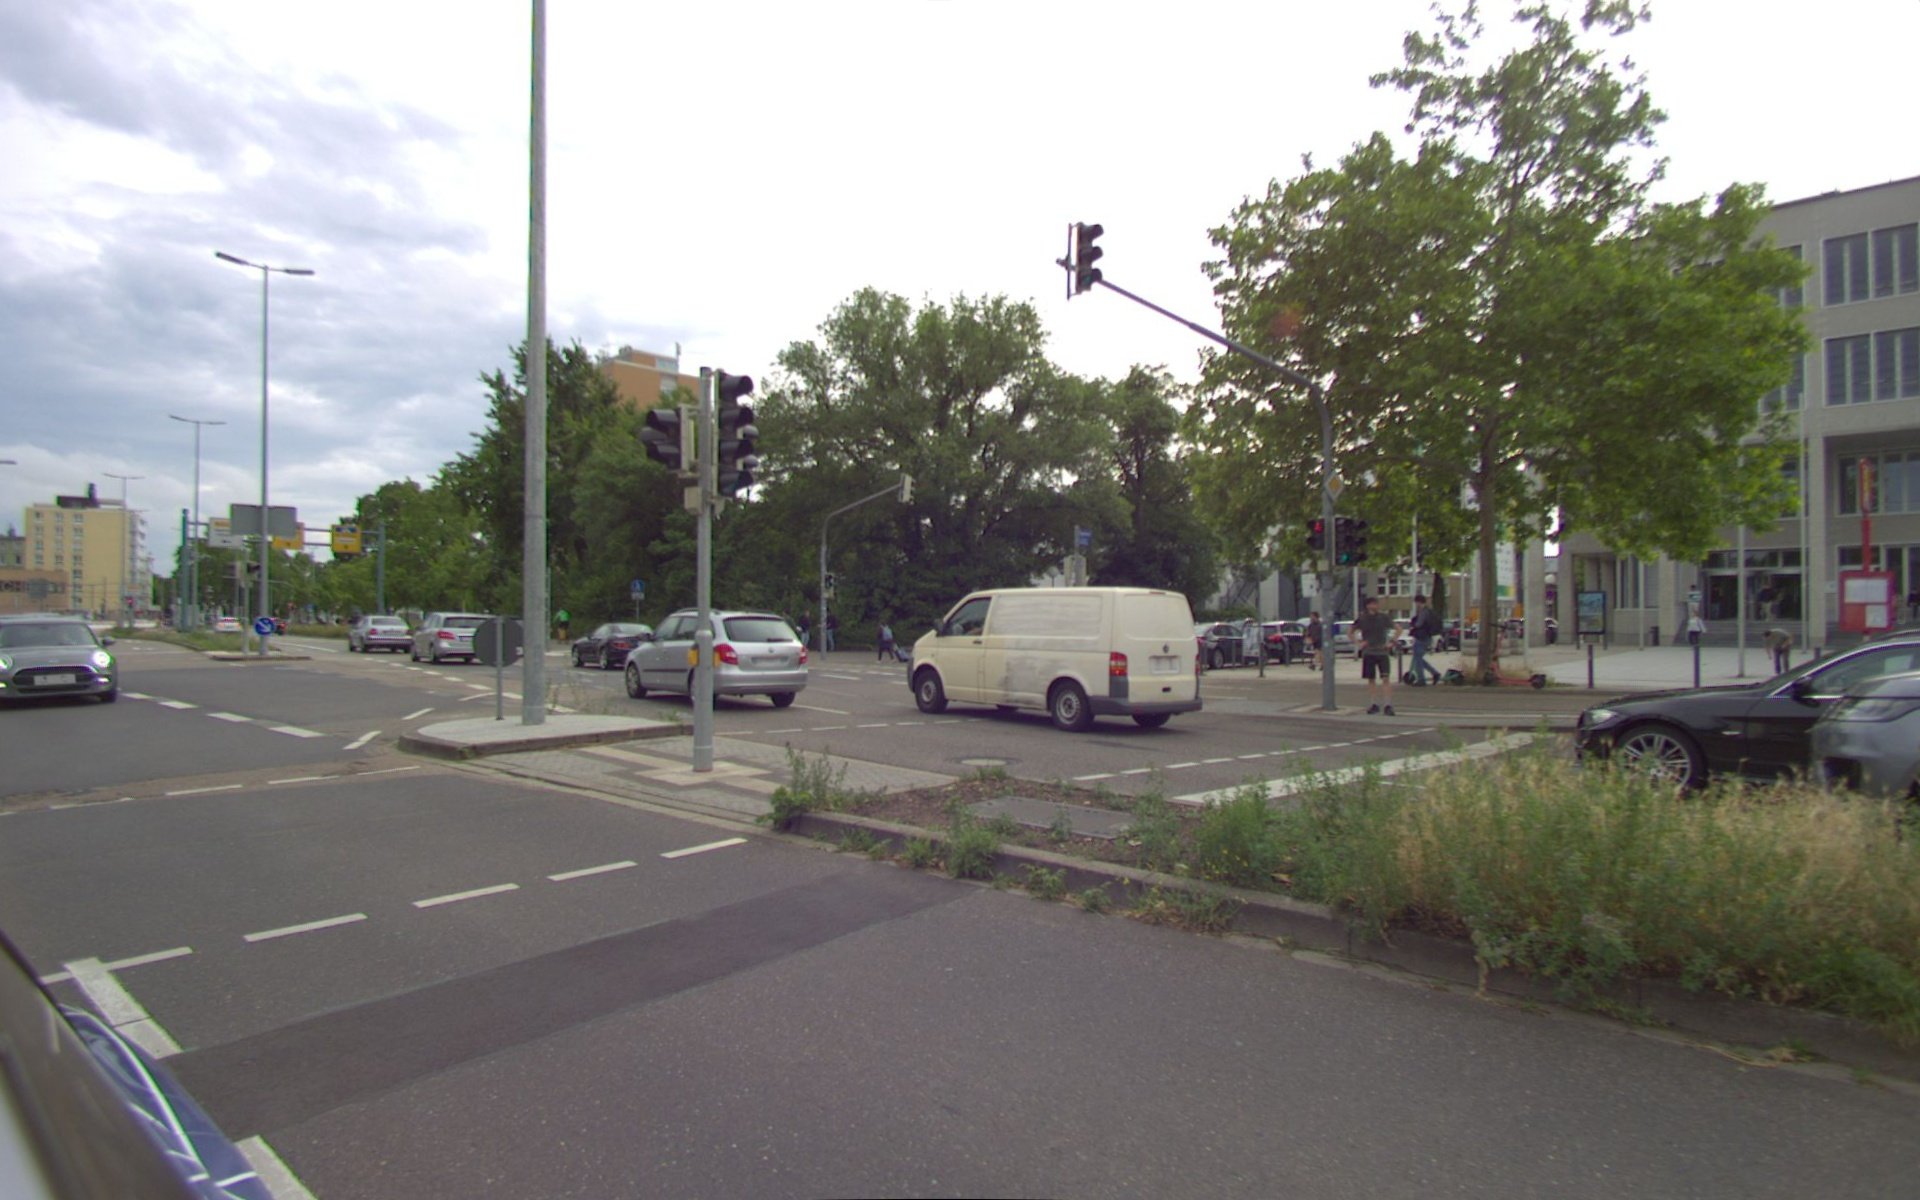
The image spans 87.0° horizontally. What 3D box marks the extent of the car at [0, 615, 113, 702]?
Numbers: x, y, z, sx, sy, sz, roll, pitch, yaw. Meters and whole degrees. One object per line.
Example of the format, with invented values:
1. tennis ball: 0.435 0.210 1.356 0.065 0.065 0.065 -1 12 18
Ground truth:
1. car: -15.497 0.933 17.220 1.601 1.328 3.711 1 -2 -40

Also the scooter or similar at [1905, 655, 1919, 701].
1. scooter or similar: 15.507 1.226 15.627 0.402 0.699 1.291 -1 0 -41

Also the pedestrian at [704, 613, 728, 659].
1. pedestrian: -9.202 1.358 38.148 0.582 1.708 0.653 5 -4 -41

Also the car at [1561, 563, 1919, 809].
1. car: 7.109 0.616 7.767 1.679 1.702 4.003 2 -2 -44

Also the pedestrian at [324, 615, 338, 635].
1. pedestrian: -64.963 2.555 104.467 1.221 2.029 0.870 -1 0 42

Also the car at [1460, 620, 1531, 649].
1. car: 26.610 1.690 50.226 3.940 1.371 2.009 2 -2 -44

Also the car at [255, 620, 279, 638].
1. car: -64.471 2.701 94.194 1.825 1.564 4.010 0 -1 -34

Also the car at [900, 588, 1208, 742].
1. car: 1.183 0.822 14.662 1.749 1.862 4.496 -1 0 -40

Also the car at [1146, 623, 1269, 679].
1. car: 7.739 1.533 31.423 2.000 1.483 4.098 -1 0 42

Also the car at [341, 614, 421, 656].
1. car: -22.910 1.352 39.977 1.969 1.541 4.280 1 -2 -40

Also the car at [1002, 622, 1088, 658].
1. car: 3.720 1.702 43.870 1.864 1.461 3.543 -1 -1 45

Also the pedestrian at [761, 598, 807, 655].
1. pedestrian: -6.405 0.940 36.798 1.136 2.029 1.174 -1 0 26

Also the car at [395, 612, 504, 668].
1. car: -15.694 1.221 31.000 1.933 1.596 4.261 2 -3 -42

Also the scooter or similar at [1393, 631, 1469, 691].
1. scooter or similar: 9.318 1.186 20.052 0.356 1.149 1.320 2 -2 -44

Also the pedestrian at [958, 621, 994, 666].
1. pedestrian: 0.554 1.479 34.809 0.811 1.525 0.978 1 -2 -33

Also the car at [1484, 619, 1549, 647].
1. car: 29.478 1.746 53.560 3.843 1.407 1.997 2 -2 -44

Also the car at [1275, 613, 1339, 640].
1. car: 20.889 1.603 60.842 3.939 1.552 2.002 1 -2 -43

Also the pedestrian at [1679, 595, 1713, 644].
1. pedestrian: 31.231 0.823 42.967 1.034 2.029 0.787 -1 -2 29

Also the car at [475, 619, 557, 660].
1. car: -16.980 1.468 38.606 1.829 1.475 3.702 1 -2 -41

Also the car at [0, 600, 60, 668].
1. car: -30.011 1.058 32.175 1.969 2.029 4.006 2 -2 -40

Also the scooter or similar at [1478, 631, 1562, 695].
1. scooter or similar: 10.429 1.160 18.868 0.356 1.149 1.320 2 -2 -44

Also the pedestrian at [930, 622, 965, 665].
1. pedestrian: -0.419 1.482 34.698 0.992 1.439 0.696 -1 0 18

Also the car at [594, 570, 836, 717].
1. car: -3.981 0.653 16.114 1.970 2.029 4.003 2 -2 -44

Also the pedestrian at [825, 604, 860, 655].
1. pedestrian: -4.827 1.208 41.490 1.090 2.029 1.036 -1 0 15

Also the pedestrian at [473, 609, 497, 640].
1. pedestrian: -26.003 1.335 55.410 0.976 1.637 0.814 -1 0 -43

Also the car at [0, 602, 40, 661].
1. car: -25.319 0.811 26.447 1.706 1.470 4.006 1 -2 -40

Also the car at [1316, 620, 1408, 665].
1. car: 15.860 1.626 39.836 2.001 1.591 3.942 -1 0 44

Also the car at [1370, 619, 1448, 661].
1. car: 19.374 1.688 43.587 1.854 1.696 3.942 -1 -2 44

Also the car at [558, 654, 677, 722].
1. car: -9.718 2.415 28.541 1.968 1.632 4.008 1 -2 -38

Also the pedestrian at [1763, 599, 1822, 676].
1. pedestrian: 22.584 1.011 27.478 1.092 2.029 0.787 -1 -2 29

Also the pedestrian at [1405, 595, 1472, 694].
1. pedestrian: 9.156 0.841 19.362 0.936 1.817 0.885 -1 -3 42

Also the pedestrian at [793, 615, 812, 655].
1. pedestrian: -6.471 1.437 41.557 0.601 1.618 0.497 -1 -1 36

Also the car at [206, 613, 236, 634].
1. car: -67.577 2.144 92.500 1.865 1.786 4.005 -1 0 -42

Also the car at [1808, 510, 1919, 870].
1. car: 6.710 0.377 4.052 4.949 1.700 1.971 -2 -1 44

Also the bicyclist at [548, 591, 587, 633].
1. bicyclist: -19.053 0.580 49.165 1.275 2.029 1.174 -1 0 26

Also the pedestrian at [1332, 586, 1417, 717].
1. pedestrian: 6.690 0.812 16.332 1.010 2.029 0.884 -1 -2 44

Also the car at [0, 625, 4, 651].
1. car: -53.972 2.110 55.916 1.582 1.378 3.583 0 0 -42

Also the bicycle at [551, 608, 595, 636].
1. bicycle: -18.841 1.069 49.282 2.299 1.343 0.602 -1 0 27

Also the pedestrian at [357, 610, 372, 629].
1. pedestrian: -59.179 1.929 100.534 1.120 1.933 1.165 -1 0 -38

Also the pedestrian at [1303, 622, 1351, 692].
1. pedestrian: 10.966 1.672 30.205 0.991 2.029 1.018 2 -2 -45

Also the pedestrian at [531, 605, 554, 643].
1. pedestrian: -23.339 1.340 56.526 0.895 2.028 0.824 -4 -1 -36

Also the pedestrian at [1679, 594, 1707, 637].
1. pedestrian: 35.046 0.733 48.409 0.944 2.029 0.787 -1 -2 29

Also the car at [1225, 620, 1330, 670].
1. car: 10.988 1.496 34.892 2.000 1.483 3.945 -1 0 42
